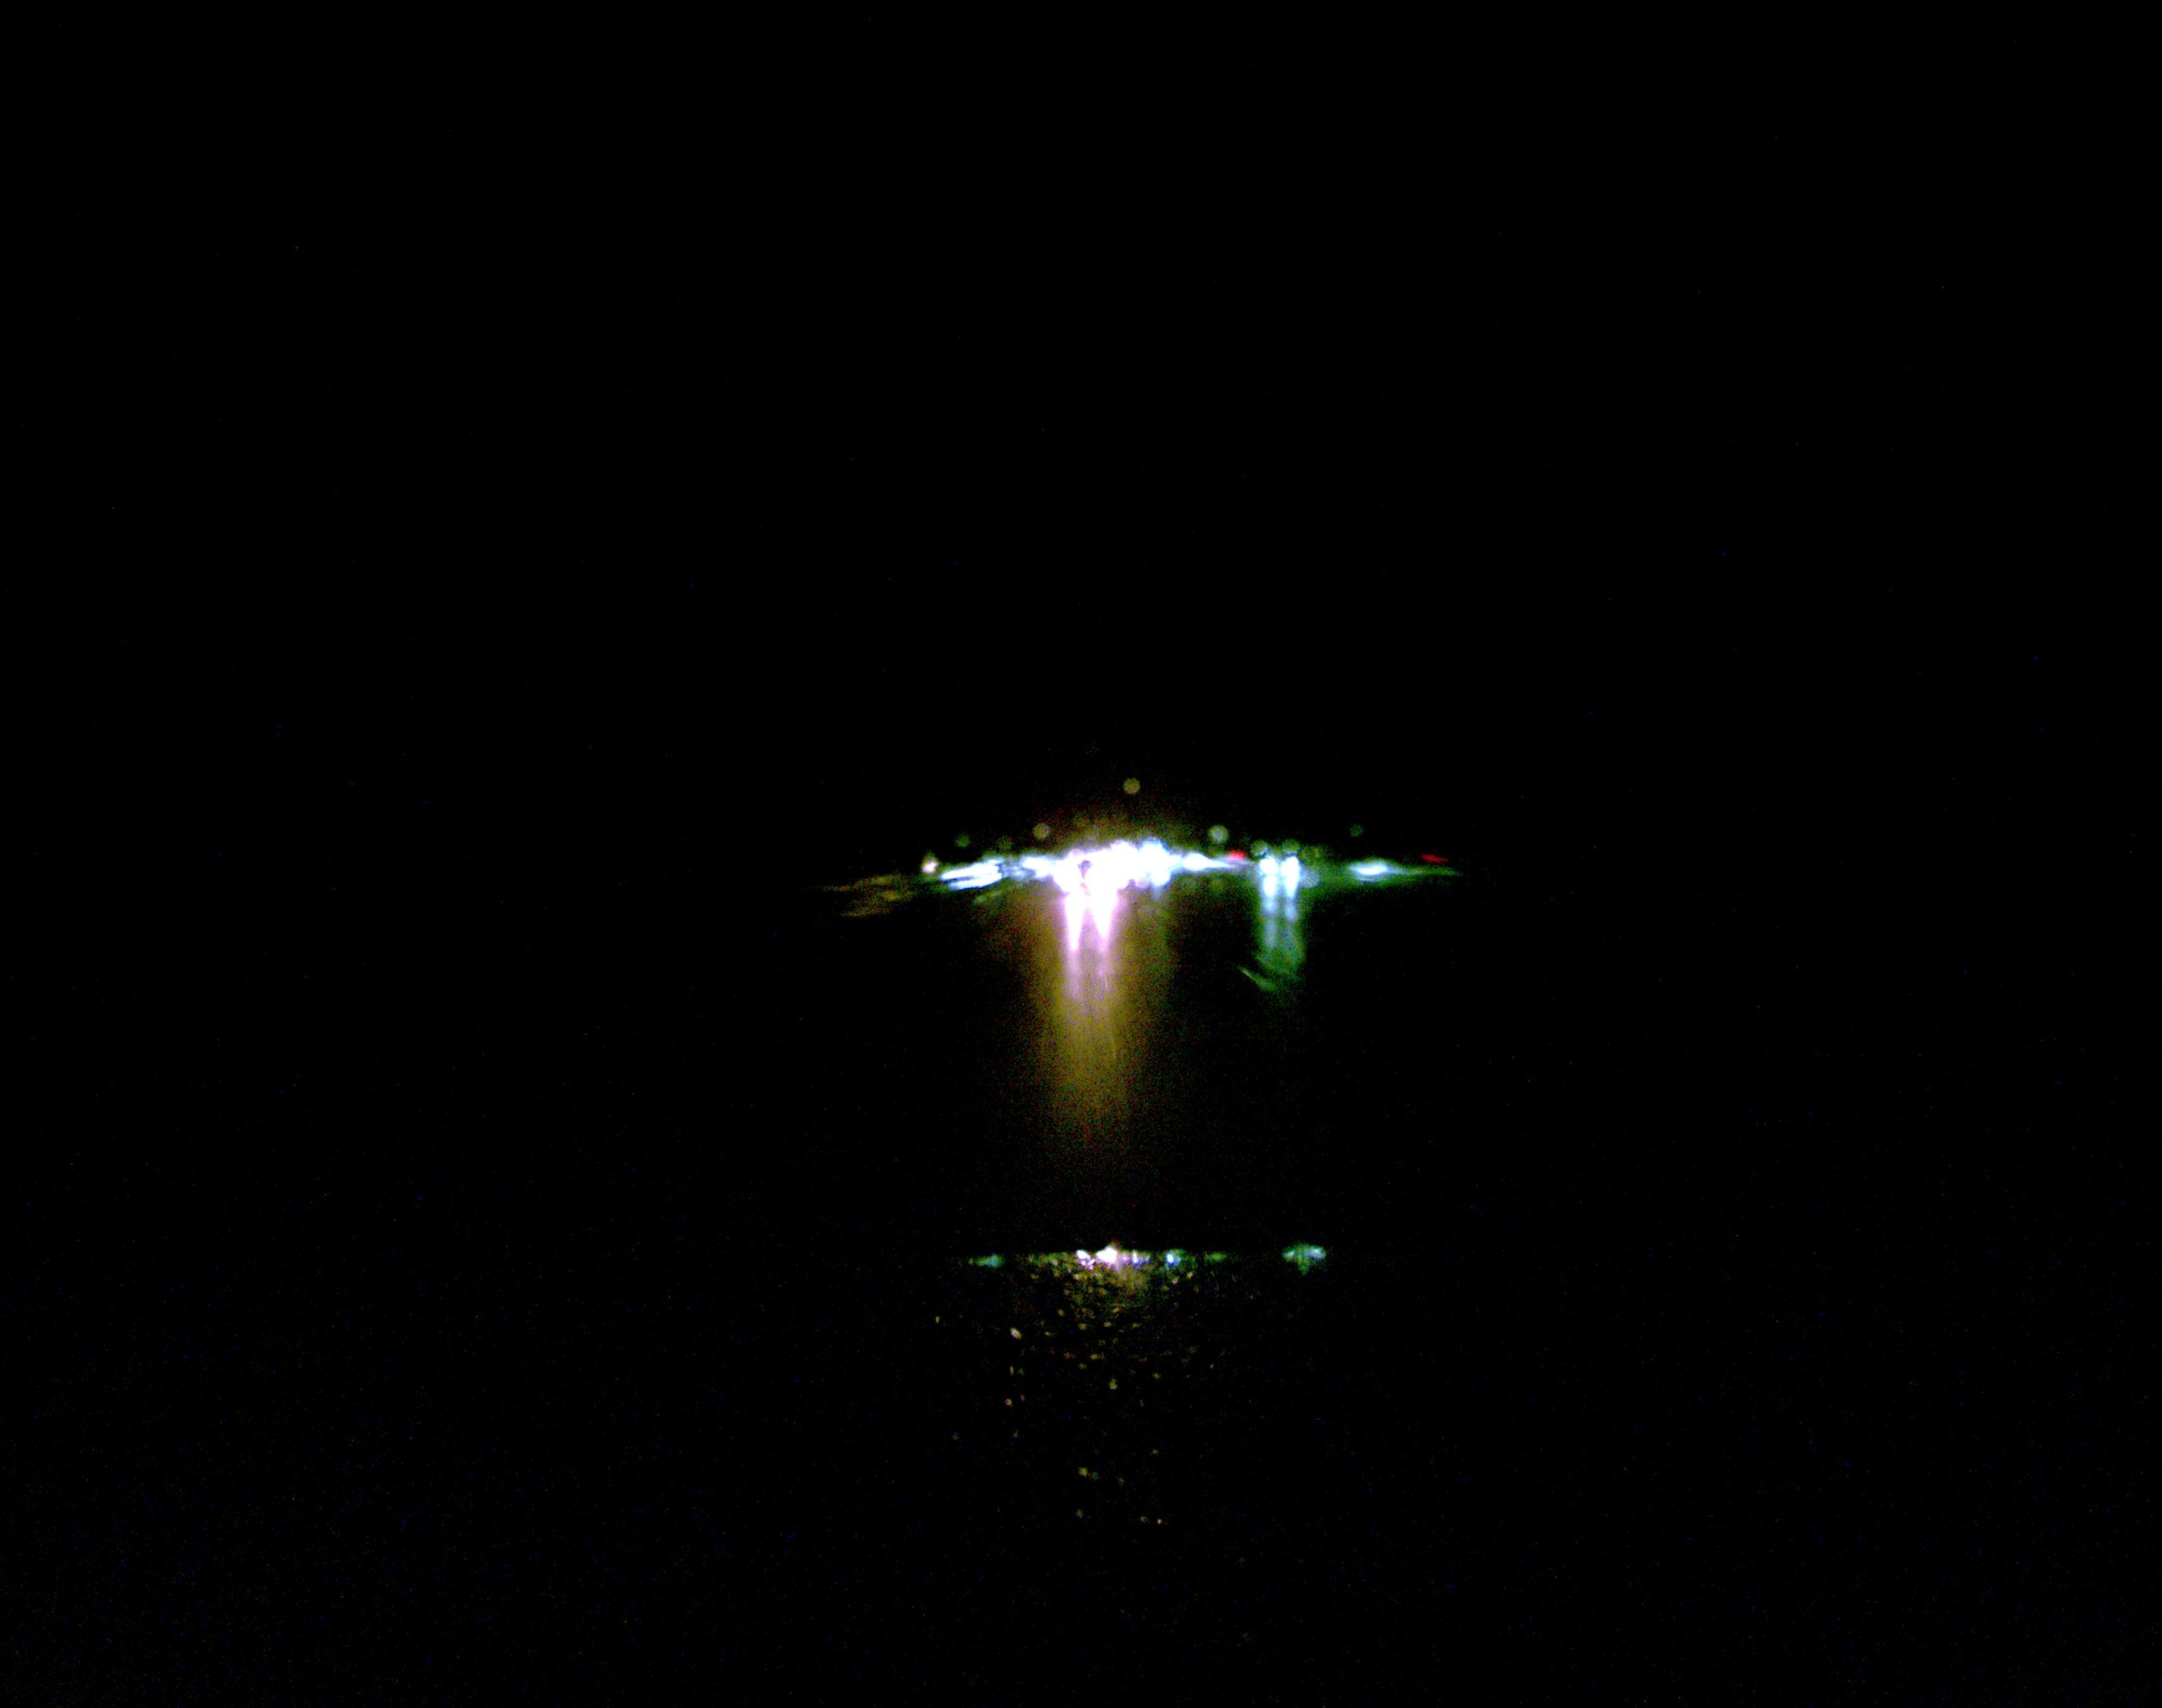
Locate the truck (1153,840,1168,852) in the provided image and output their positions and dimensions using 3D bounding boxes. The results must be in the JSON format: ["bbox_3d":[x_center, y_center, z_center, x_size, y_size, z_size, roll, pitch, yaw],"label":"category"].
[{"bbox_3d":[28.422,-2.835,271.794,3.508,3.865,17.179,-3,0,1],"label":"truck"}]

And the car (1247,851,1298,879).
[{"bbox_3d":[11.802,0.616,47.121,1.998,1.551,4.587,-3,1,1],"label":"car"}]

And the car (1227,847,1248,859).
[{"bbox_3d":[21.329,-0.166,103.563,1.885,1.548,4.459,-3,1,-1],"label":"car"}]

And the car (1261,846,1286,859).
[{"bbox_3d":[23.700,-0.196,93.607,1.885,1.548,4.459,-3,1,-1],"label":"car"}]

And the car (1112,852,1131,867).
[{"bbox_3d":[4.572,0.602,86.443,1.998,1.551,4.587,-3,1,1],"label":"car"}]

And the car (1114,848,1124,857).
[{"bbox_3d":[7.741,-0.317,154.558,1.998,1.797,4.000,-3,1,1],"label":"car"}]

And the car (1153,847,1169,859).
[{"bbox_3d":[11.834,-0.160,112.609,1.998,1.797,4.000,-3,1,1],"label":"car"}]

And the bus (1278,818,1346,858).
[{"bbox_3d":[28.451,-1.857,94.710,3.082,4.464,17.010,-3,0,0],"label":"bus"}]

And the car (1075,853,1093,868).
[{"bbox_3d":[0.303,0.633,81.410,1.813,1.477,3.582,-3,1,-1],"label":"car"}]

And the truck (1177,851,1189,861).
[{"bbox_3d":[24.925,0.367,185.497,1.999,2.333,6.438,-3,1,0],"label":"truck"}]

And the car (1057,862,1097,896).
[{"bbox_3d":[-0.153,1.034,32.269,1.526,1.256,3.369,-3,1,0],"label":"car"}]

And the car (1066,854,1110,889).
[{"bbox_3d":[0.344,0.869,37.497,1.998,1.542,4.001,-3,-2,0],"label":"car"}]
